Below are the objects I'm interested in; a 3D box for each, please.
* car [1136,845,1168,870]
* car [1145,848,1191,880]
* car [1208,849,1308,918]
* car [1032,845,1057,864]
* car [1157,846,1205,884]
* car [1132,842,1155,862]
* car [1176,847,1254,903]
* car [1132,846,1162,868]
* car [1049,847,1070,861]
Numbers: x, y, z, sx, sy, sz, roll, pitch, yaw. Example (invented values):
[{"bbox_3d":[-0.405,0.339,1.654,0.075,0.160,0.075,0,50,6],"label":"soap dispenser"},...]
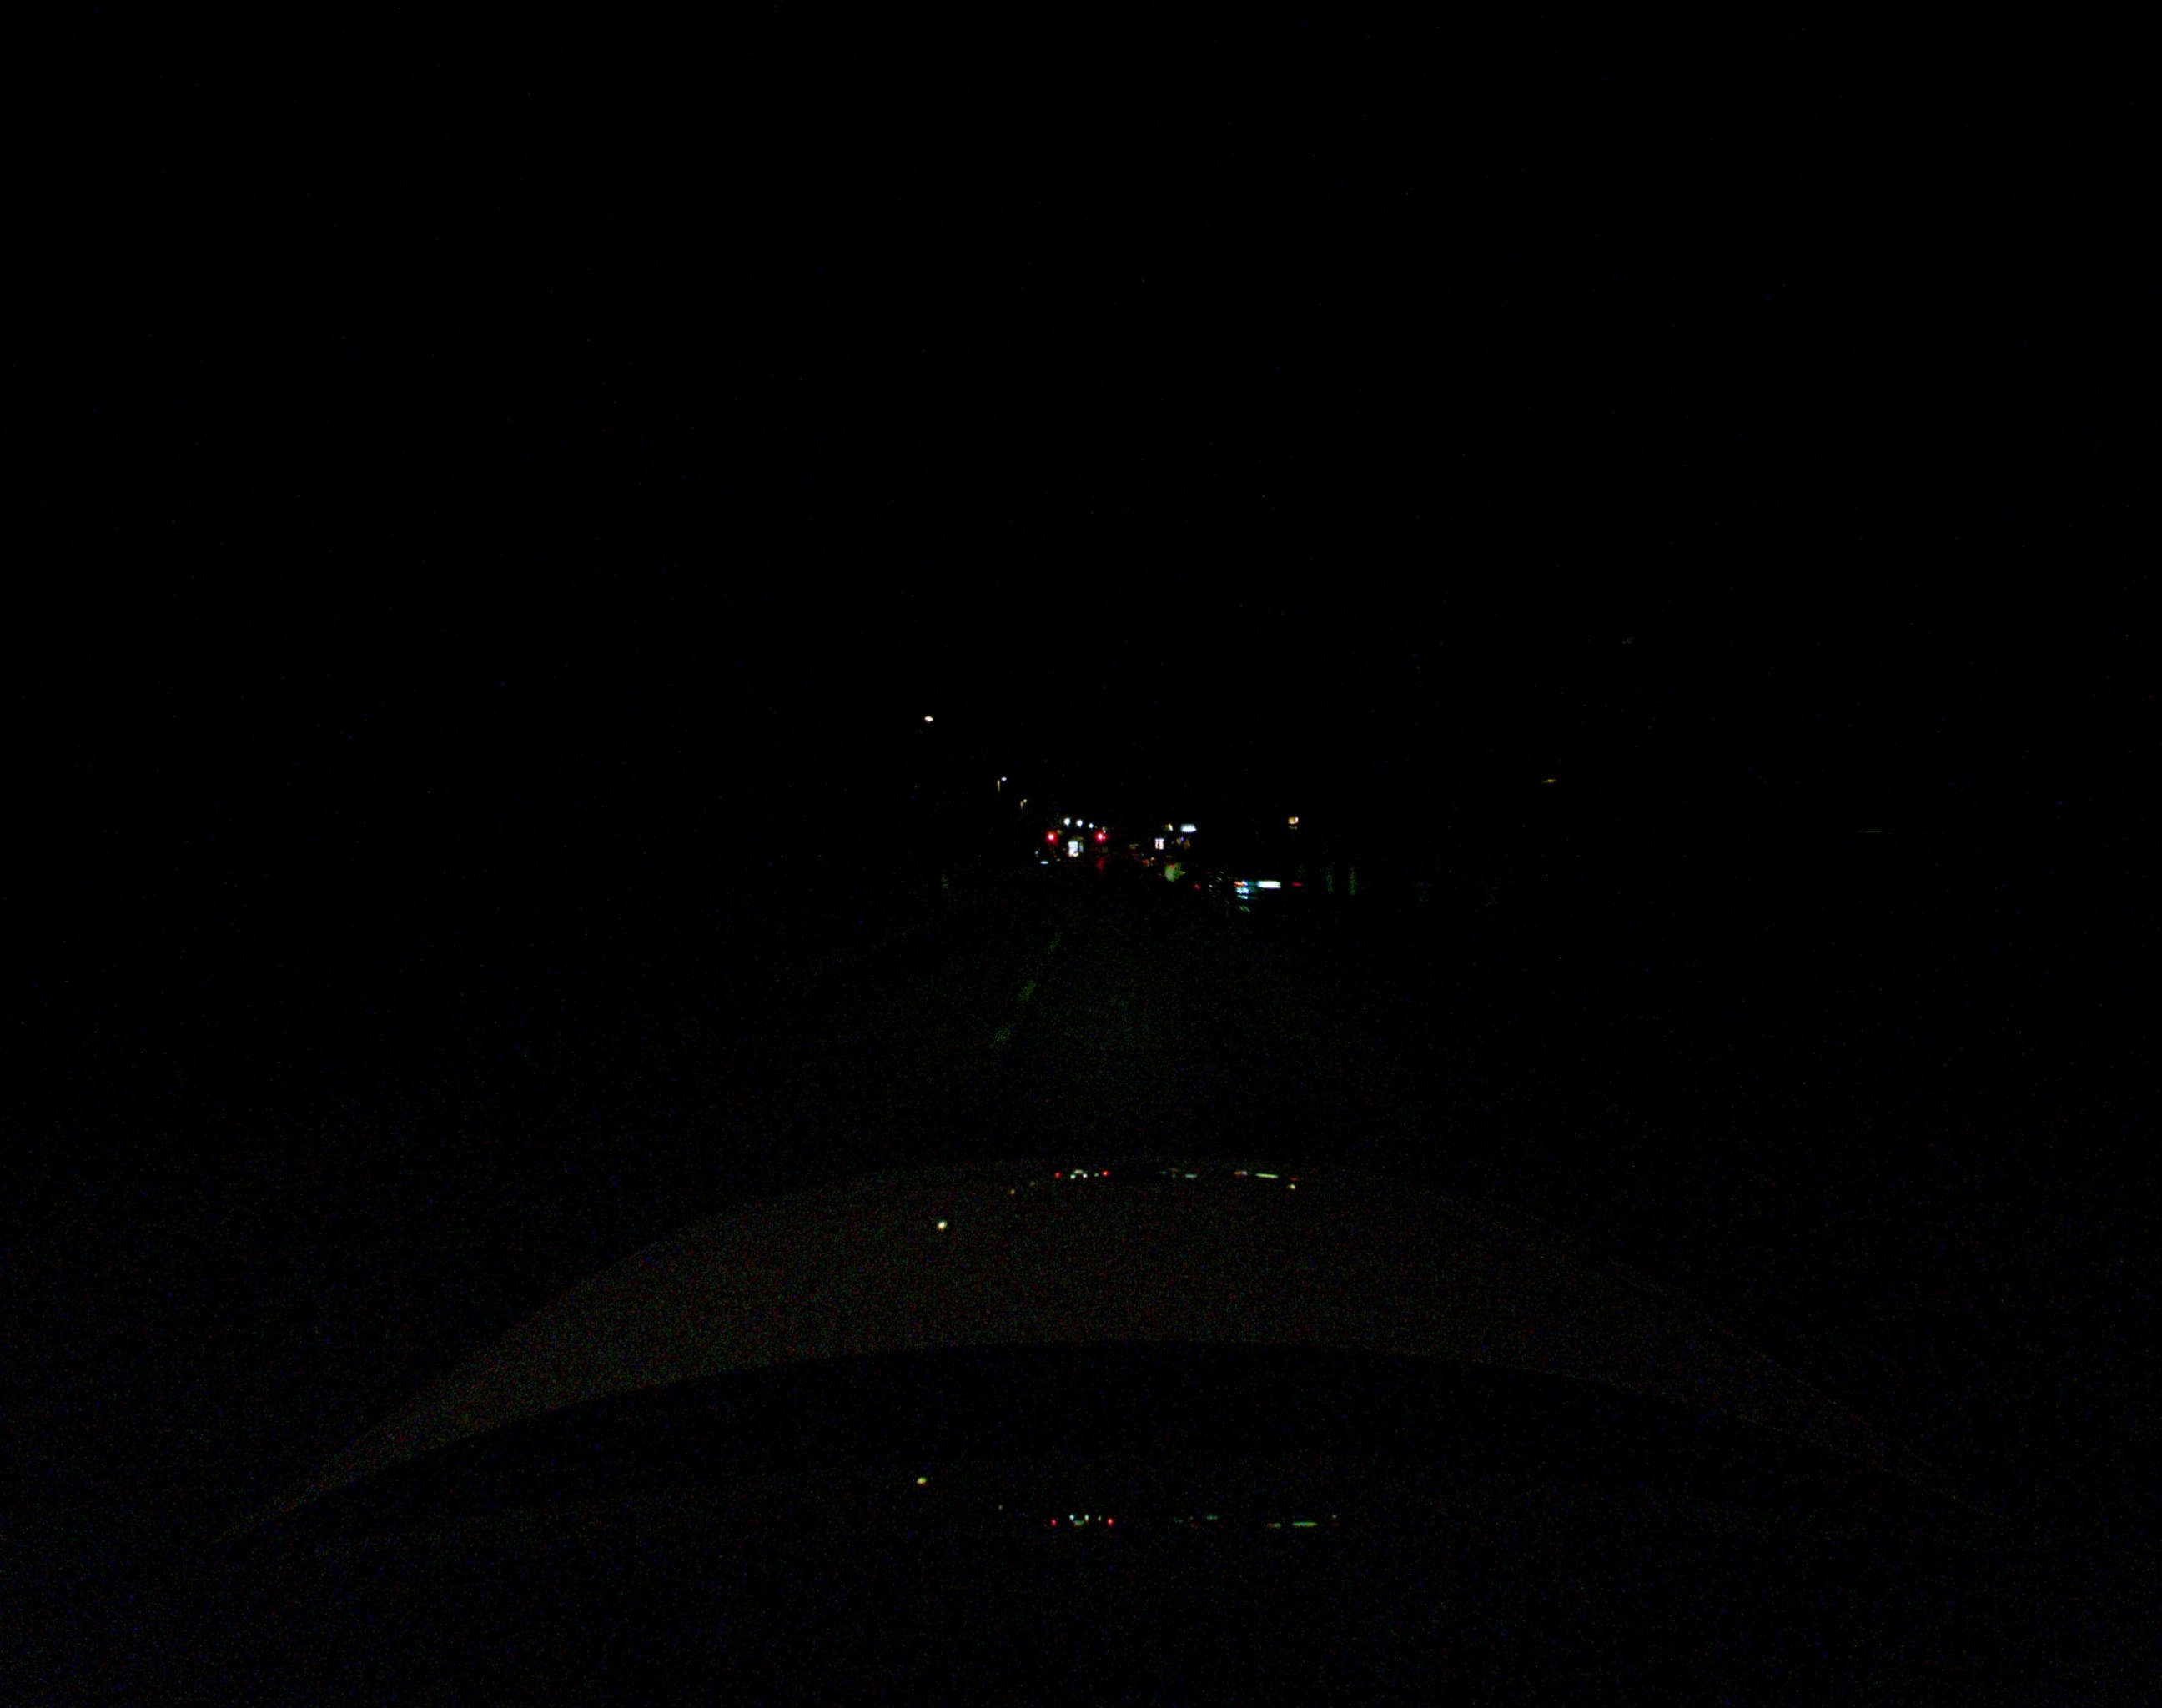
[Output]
[{"bbox_3d":[4.315,0.172,50.091,1.670,1.447,4.613,-2,0,2],"label":"car"},{"bbox_3d":[4.059,0.417,38.673,1.756,1.416,4.440,0,0,0],"label":"car"},{"bbox_3d":[3.893,0.591,18.419,1.594,1.398,3.519,0,1,2],"label":"car"},{"bbox_3d":[-2.913,0.048,65.716,1.686,1.524,3.692,0,-1,1],"label":"car"},{"bbox_3d":[4.114,0.419,33.931,1.632,1.466,3.778,0,1,2],"label":"car"},{"bbox_3d":[5.388,-0.191,70.543,1.779,1.641,4.384,-3,0,3],"label":"car"},{"bbox_3d":[3.774,0.533,23.523,1.670,1.447,4.002,-2,0,2],"label":"car"},{"bbox_3d":[4.492,0.154,56.097,1.774,1.437,4.290,0,1,1],"label":"car"},{"bbox_3d":[-2.133,-0.011,82.935,1.683,1.436,4.134,0,1,5],"label":"car"}]
